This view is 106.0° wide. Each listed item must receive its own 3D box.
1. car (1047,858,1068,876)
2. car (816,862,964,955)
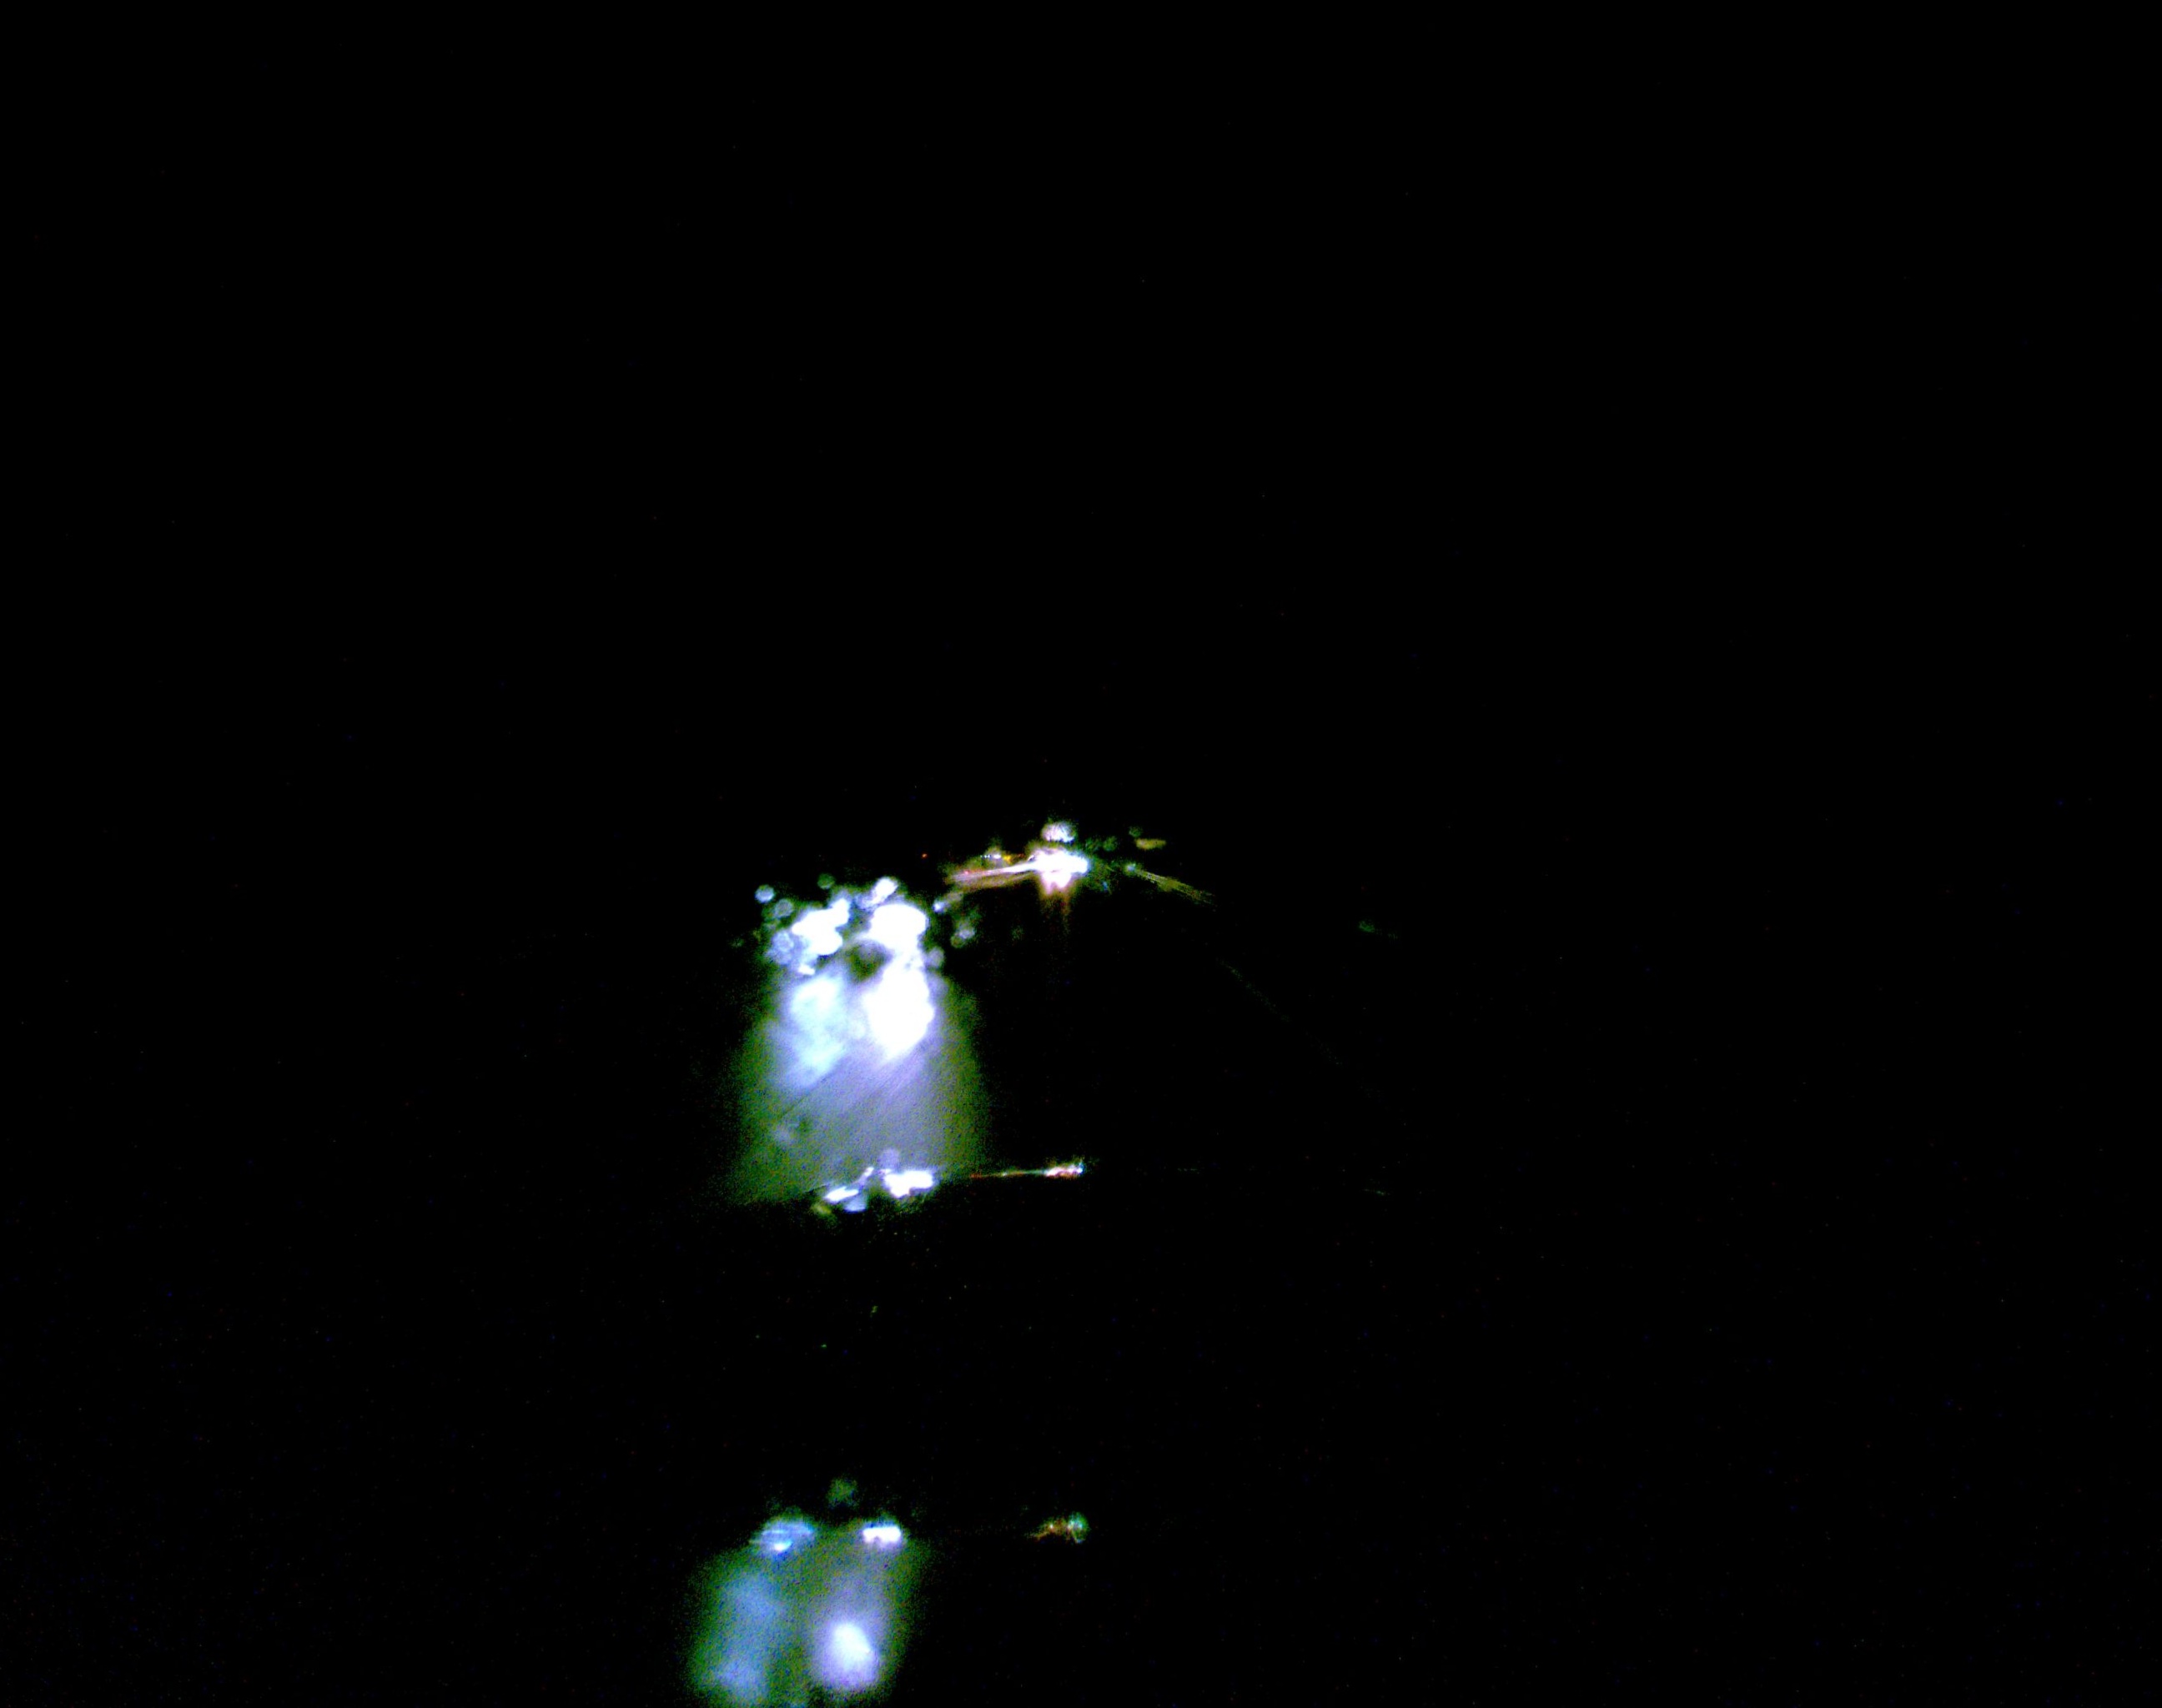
[{"bbox_3d":[-2.231,1.249,77.519,1.862,1.612,3.847,-1,0,1],"label":"car"},{"bbox_3d":[-3.145,0.839,14.120,1.635,1.359,3.681,-1,0,1],"label":"car"}]
